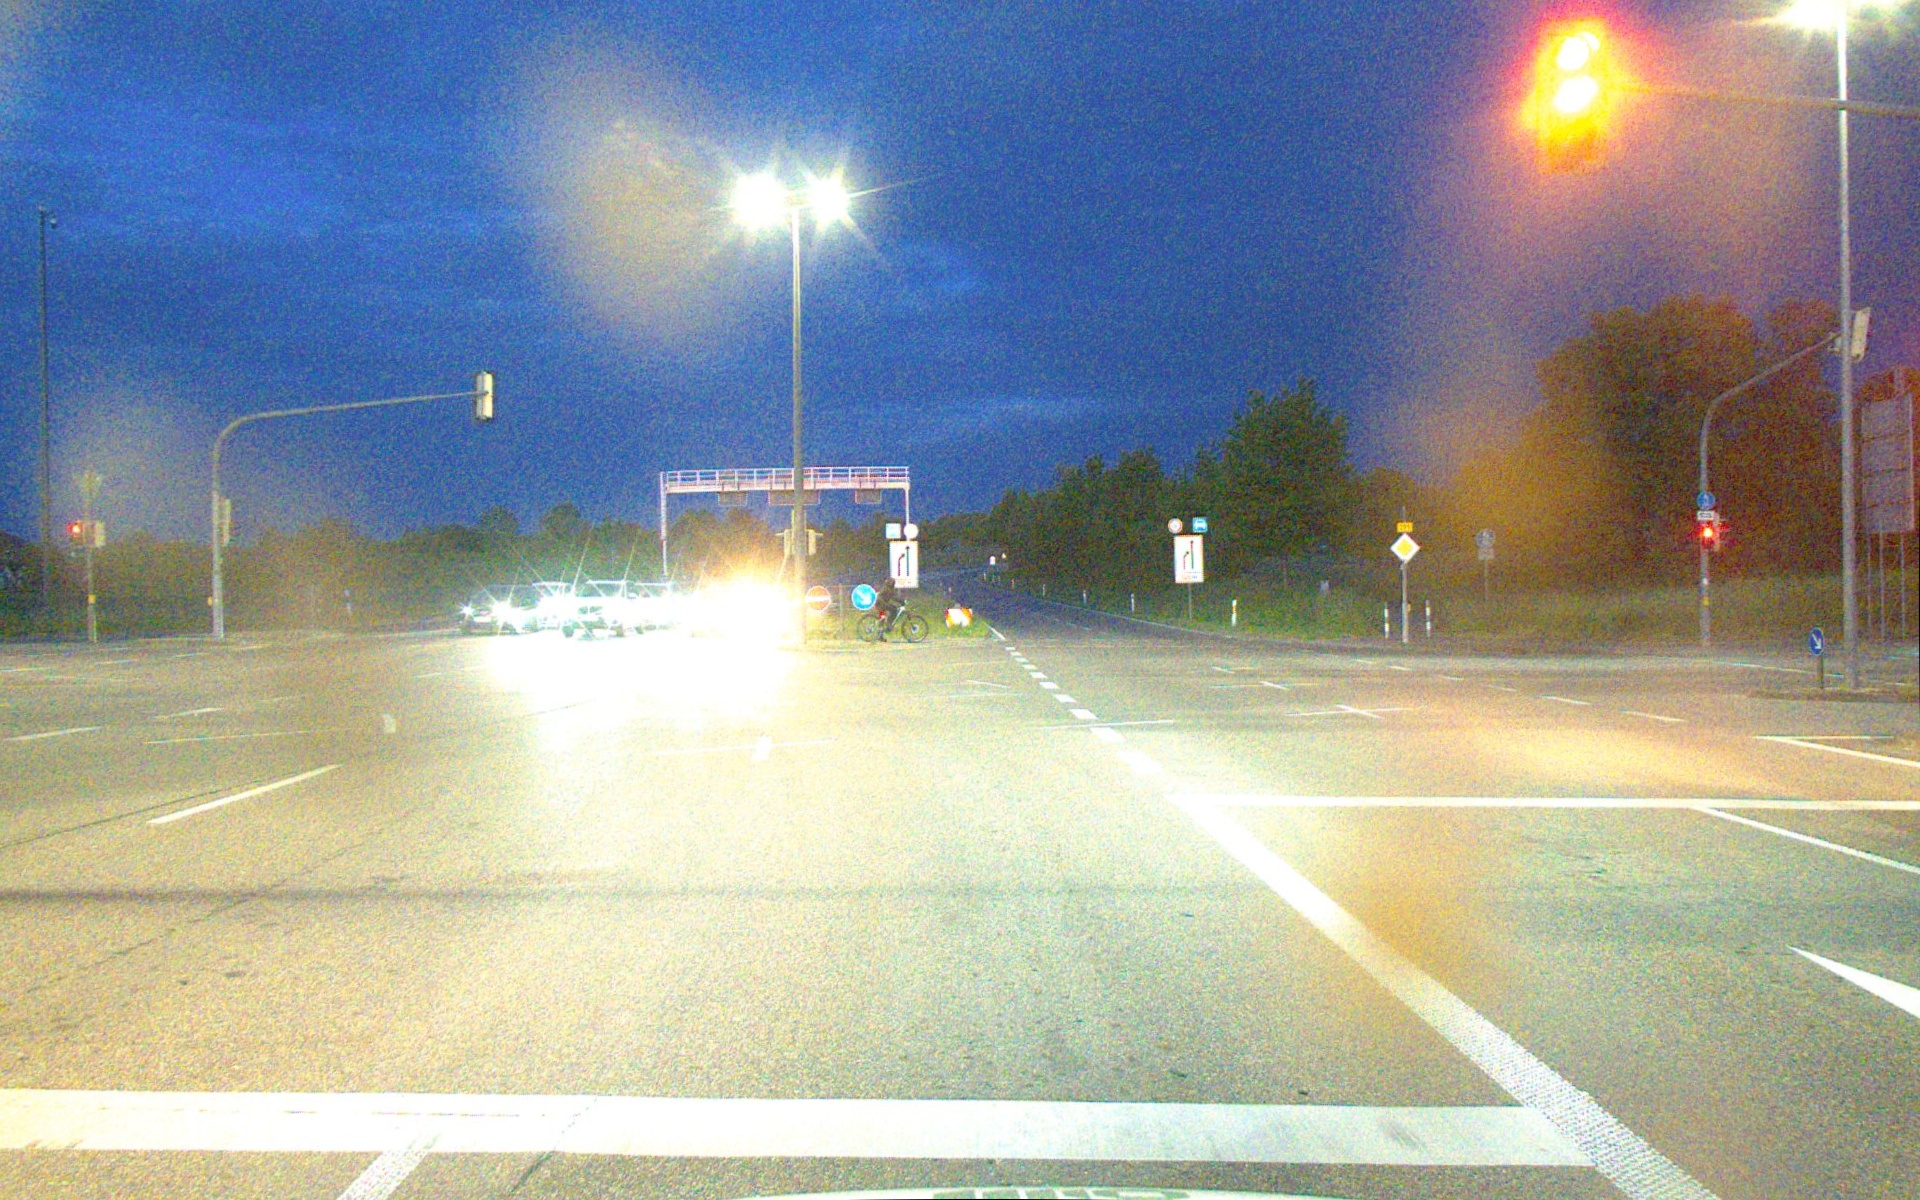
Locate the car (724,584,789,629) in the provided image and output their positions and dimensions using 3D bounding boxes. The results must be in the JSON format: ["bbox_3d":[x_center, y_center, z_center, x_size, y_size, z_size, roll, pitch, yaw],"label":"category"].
[{"bbox_3d":[-7.182,0.198,58.604,1.736,1.507,3.911,1,1,1],"label":"car"}]

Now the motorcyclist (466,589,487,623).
[{"bbox_3d":[-27.676,0.345,94.658,0.903,1.840,0.863,-4,-3,-26],"label":"motorcyclist"}]

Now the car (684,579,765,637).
[{"bbox_3d":[-7.154,0.200,50.665,1.814,1.661,4.586,0,1,0],"label":"car"}]

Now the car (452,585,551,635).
[{"bbox_3d":[-14.209,0.277,51.439,1.743,1.471,4.292,1,1,2],"label":"car"}]

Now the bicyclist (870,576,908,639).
[{"bbox_3d":[-1.912,0.204,44.524,0.977,1.680,0.603,0,0,-6],"label":"bicyclist"}]

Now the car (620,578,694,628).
[{"bbox_3d":[-10.544,0.061,57.832,1.709,1.655,4.363,0,1,1],"label":"car"}]

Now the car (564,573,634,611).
[{"bbox_3d":[-14.219,-0.338,65.386,1.794,1.414,4.397,-1,1,0],"label":"car"}]

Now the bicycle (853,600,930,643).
[{"bbox_3d":[-1.847,0.574,44.517,2.021,1.120,0.694,0,0,-6],"label":"bicycle"}]

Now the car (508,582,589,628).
[{"bbox_3d":[-14.325,0.146,57.715,1.794,1.551,4.000,-1,1,0],"label":"car"}]

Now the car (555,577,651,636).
[{"bbox_3d":[-10.826,0.152,50.425,1.869,1.711,4.421,1,1,1],"label":"car"}]
